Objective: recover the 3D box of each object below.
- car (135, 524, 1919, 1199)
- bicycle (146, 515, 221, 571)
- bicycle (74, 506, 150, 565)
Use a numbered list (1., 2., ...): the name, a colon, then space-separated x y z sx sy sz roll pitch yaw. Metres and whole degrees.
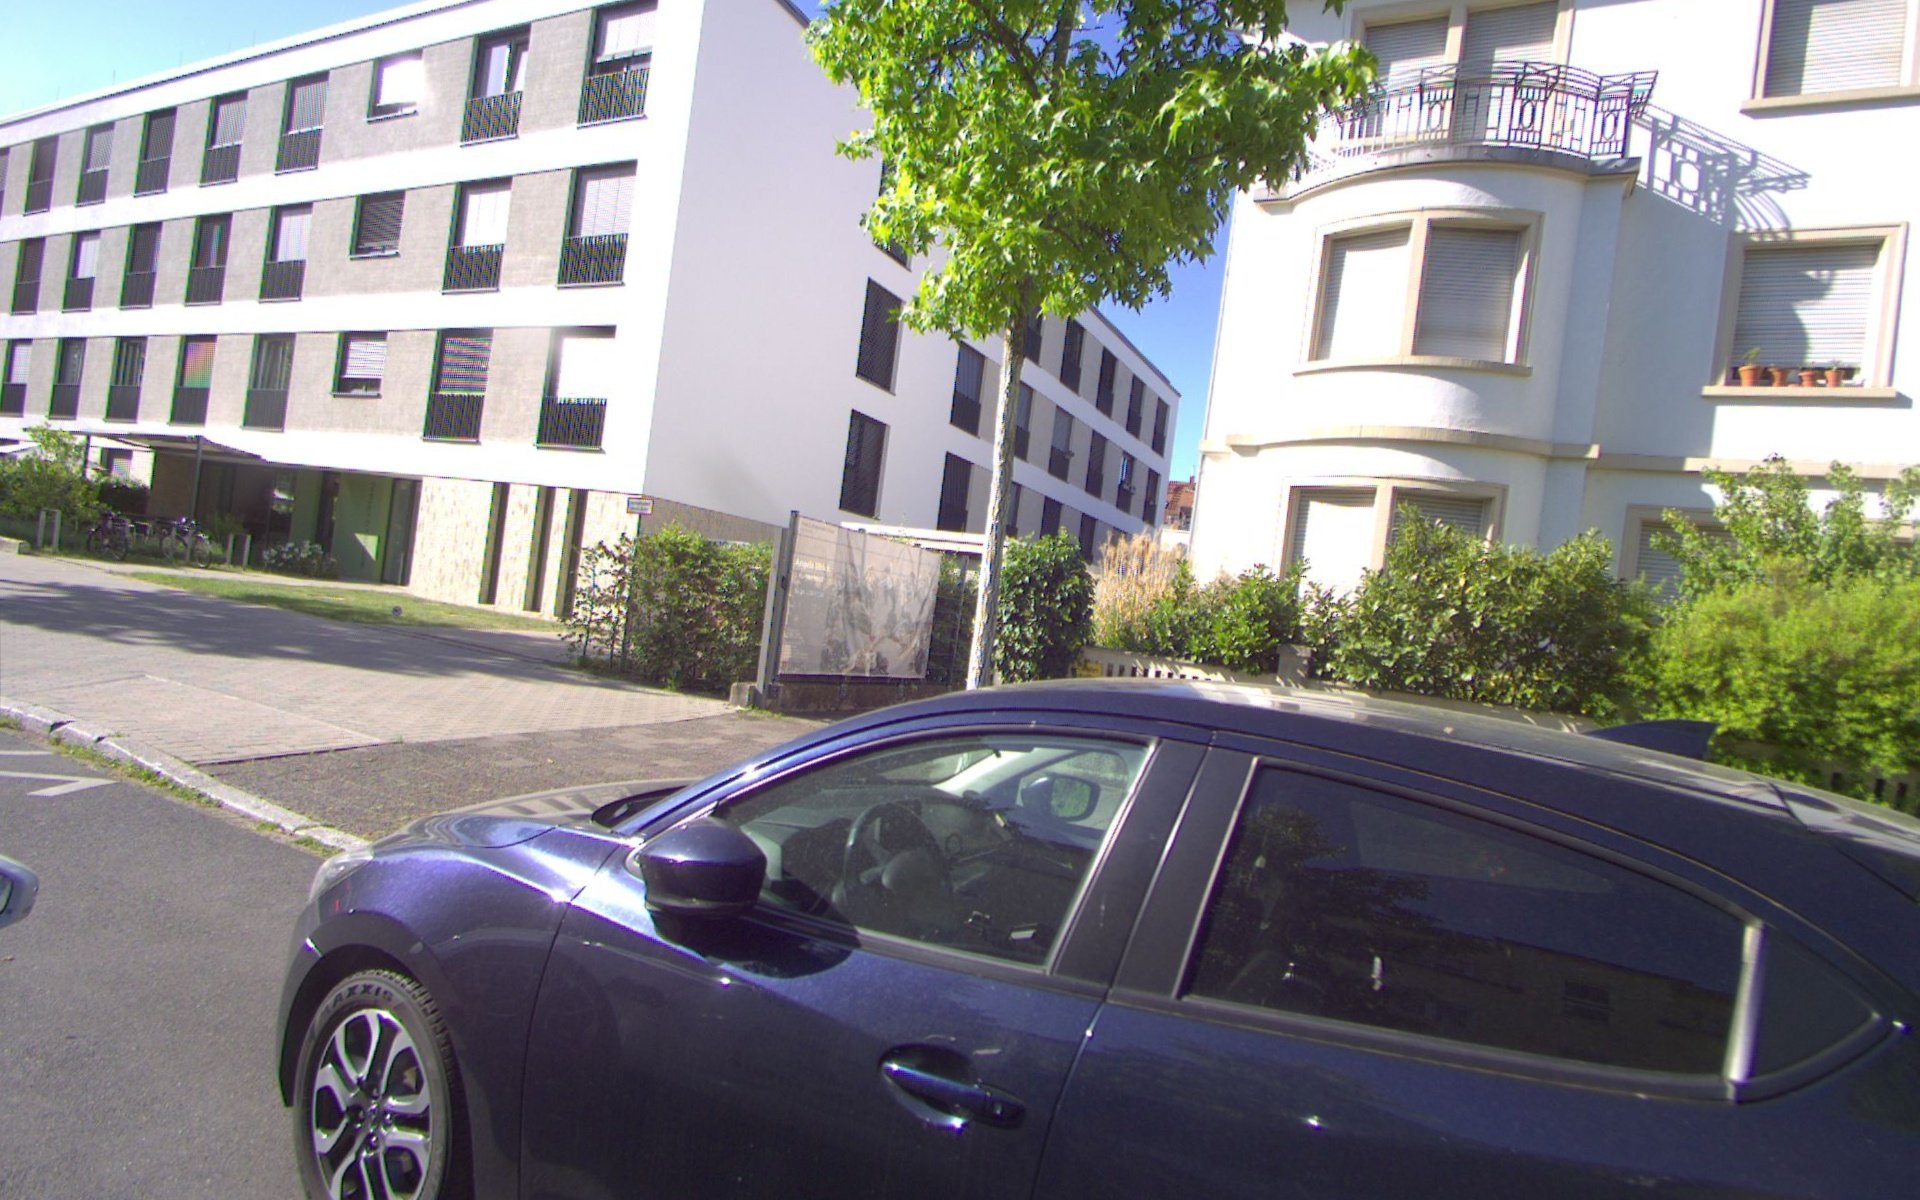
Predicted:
1. car: 0.235 0.829 2.214 4.011 1.467 1.704 7 0 28
2. bicycle: -17.660 -1.302 22.868 1.748 1.068 0.547 7 1 25
3. bicycle: -18.253 -1.396 21.639 1.661 1.068 0.547 7 1 25
